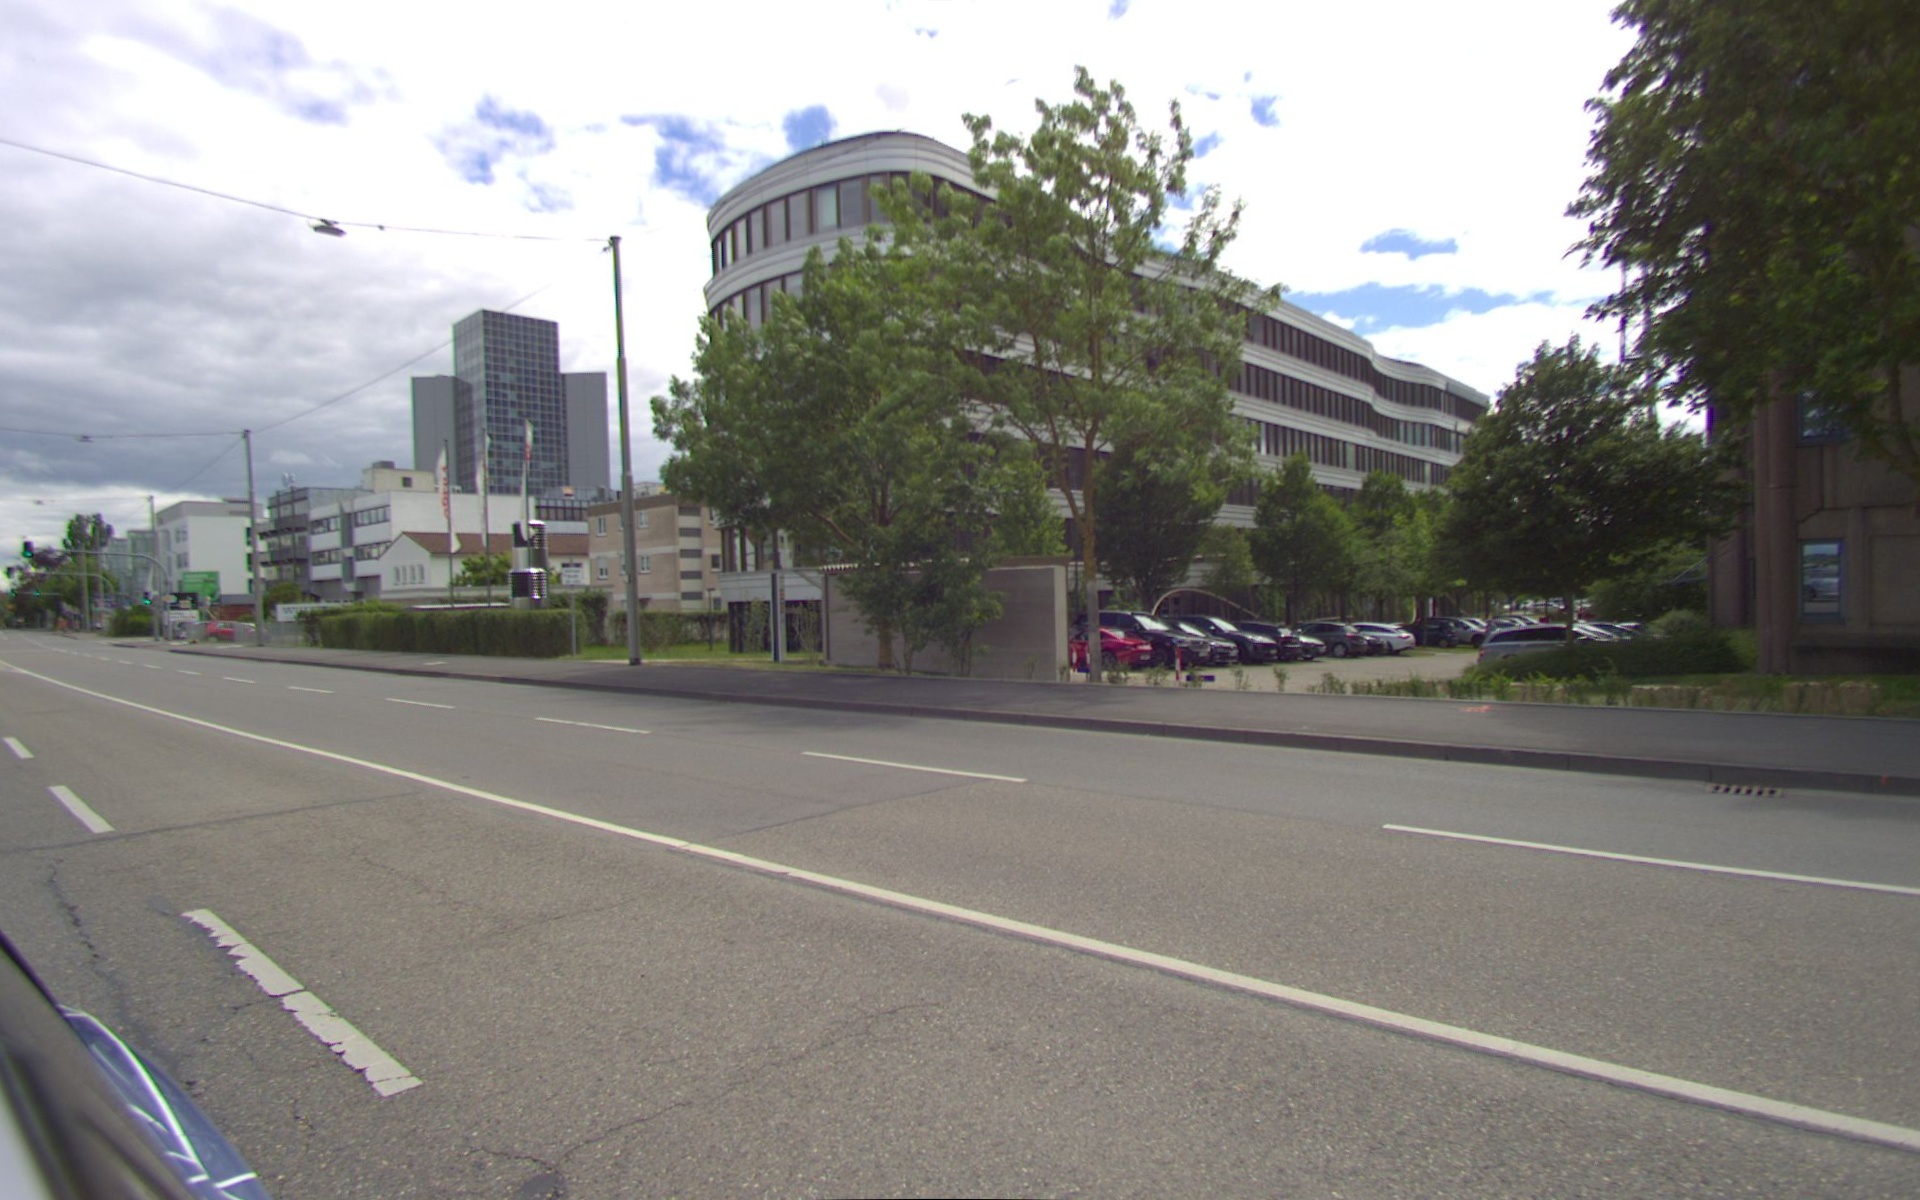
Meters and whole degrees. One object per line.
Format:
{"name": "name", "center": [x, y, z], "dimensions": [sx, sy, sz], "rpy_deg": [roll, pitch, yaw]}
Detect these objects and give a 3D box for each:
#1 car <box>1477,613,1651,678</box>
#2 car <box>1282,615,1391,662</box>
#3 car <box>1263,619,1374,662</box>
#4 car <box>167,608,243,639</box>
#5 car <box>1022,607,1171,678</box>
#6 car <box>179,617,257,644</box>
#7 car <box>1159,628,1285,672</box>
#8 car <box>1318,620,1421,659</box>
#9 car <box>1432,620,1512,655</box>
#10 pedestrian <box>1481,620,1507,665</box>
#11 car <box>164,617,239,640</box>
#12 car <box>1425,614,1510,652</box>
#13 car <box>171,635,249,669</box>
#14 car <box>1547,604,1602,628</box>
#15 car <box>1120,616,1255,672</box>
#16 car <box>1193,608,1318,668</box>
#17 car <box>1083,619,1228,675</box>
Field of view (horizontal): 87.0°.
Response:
{"name": "car", "center": [17.228, 1.230, 28.963], "dimensions": [3.998, 1.674, 1.973], "rpy_deg": [-1, 0, 41]}
{"name": "car", "center": [16.056, 1.611, 43.240], "dimensions": [3.998, 1.785, 1.823], "rpy_deg": [1, 2, 41]}
{"name": "car", "center": [15.132, 1.670, 42.791], "dimensions": [4.038, 1.629, 1.822], "rpy_deg": [-1, 0, 41]}
{"name": "car", "center": [-52.389, 1.591, 70.299], "dimensions": [1.904, 2.029, 3.944], "rpy_deg": [-1, 0, 42]}
{"name": "car", "center": [4.051, 1.201, 30.198], "dimensions": [3.993, 1.807, 1.846], "rpy_deg": [2, 2, 36]}
{"name": "car", "center": [-48.497, 1.967, 66.175], "dimensions": [1.834, 1.623, 3.754], "rpy_deg": [-2, -1, 39]}
{"name": "car", "center": [9.067, 1.699, 35.215], "dimensions": [3.998, 1.386, 1.506], "rpy_deg": [-1, 0, 41]}
{"name": "car", "center": [18.707, 1.774, 46.334], "dimensions": [3.998, 1.497, 1.836], "rpy_deg": [2, 2, 41]}
{"name": "car", "center": [31.425, 2.261, 62.124], "dimensions": [3.998, 2.029, 1.973], "rpy_deg": [-1, 0, 41]}
{"name": "pedestrian", "center": [27.097, 2.156, 51.338], "dimensions": [1.001, 2.218, 0.706], "rpy_deg": [2, 2, 41]}
{"name": "car", "center": [-53.816, 2.005, 71.828], "dimensions": [1.823, 1.342, 3.946], "rpy_deg": [-3, 2, 42]}
{"name": "car", "center": [29.100, 1.850, 58.053], "dimensions": [3.998, 2.029, 1.973], "rpy_deg": [-1, 0, 41]}
{"name": "car", "center": [-50.793, 3.465, 68.611], "dimensions": [1.920, 2.029, 3.944], "rpy_deg": [-1, 0, 42]}
{"name": "car", "center": [55.314, 1.435, 91.138], "dimensions": [3.998, 2.029, 1.973], "rpy_deg": [-1, 0, 41]}
{"name": "car", "center": [7.514, 1.413, 33.629], "dimensions": [3.998, 1.736, 1.800], "rpy_deg": [-1, -1, 41]}
{"name": "car", "center": [10.932, 1.364, 37.543], "dimensions": [3.998, 2.042, 1.908], "rpy_deg": [-1, 0, 41]}
{"name": "car", "center": [6.058, 1.425, 31.561], "dimensions": [3.998, 1.630, 1.973], "rpy_deg": [-1, -2, 41]}
